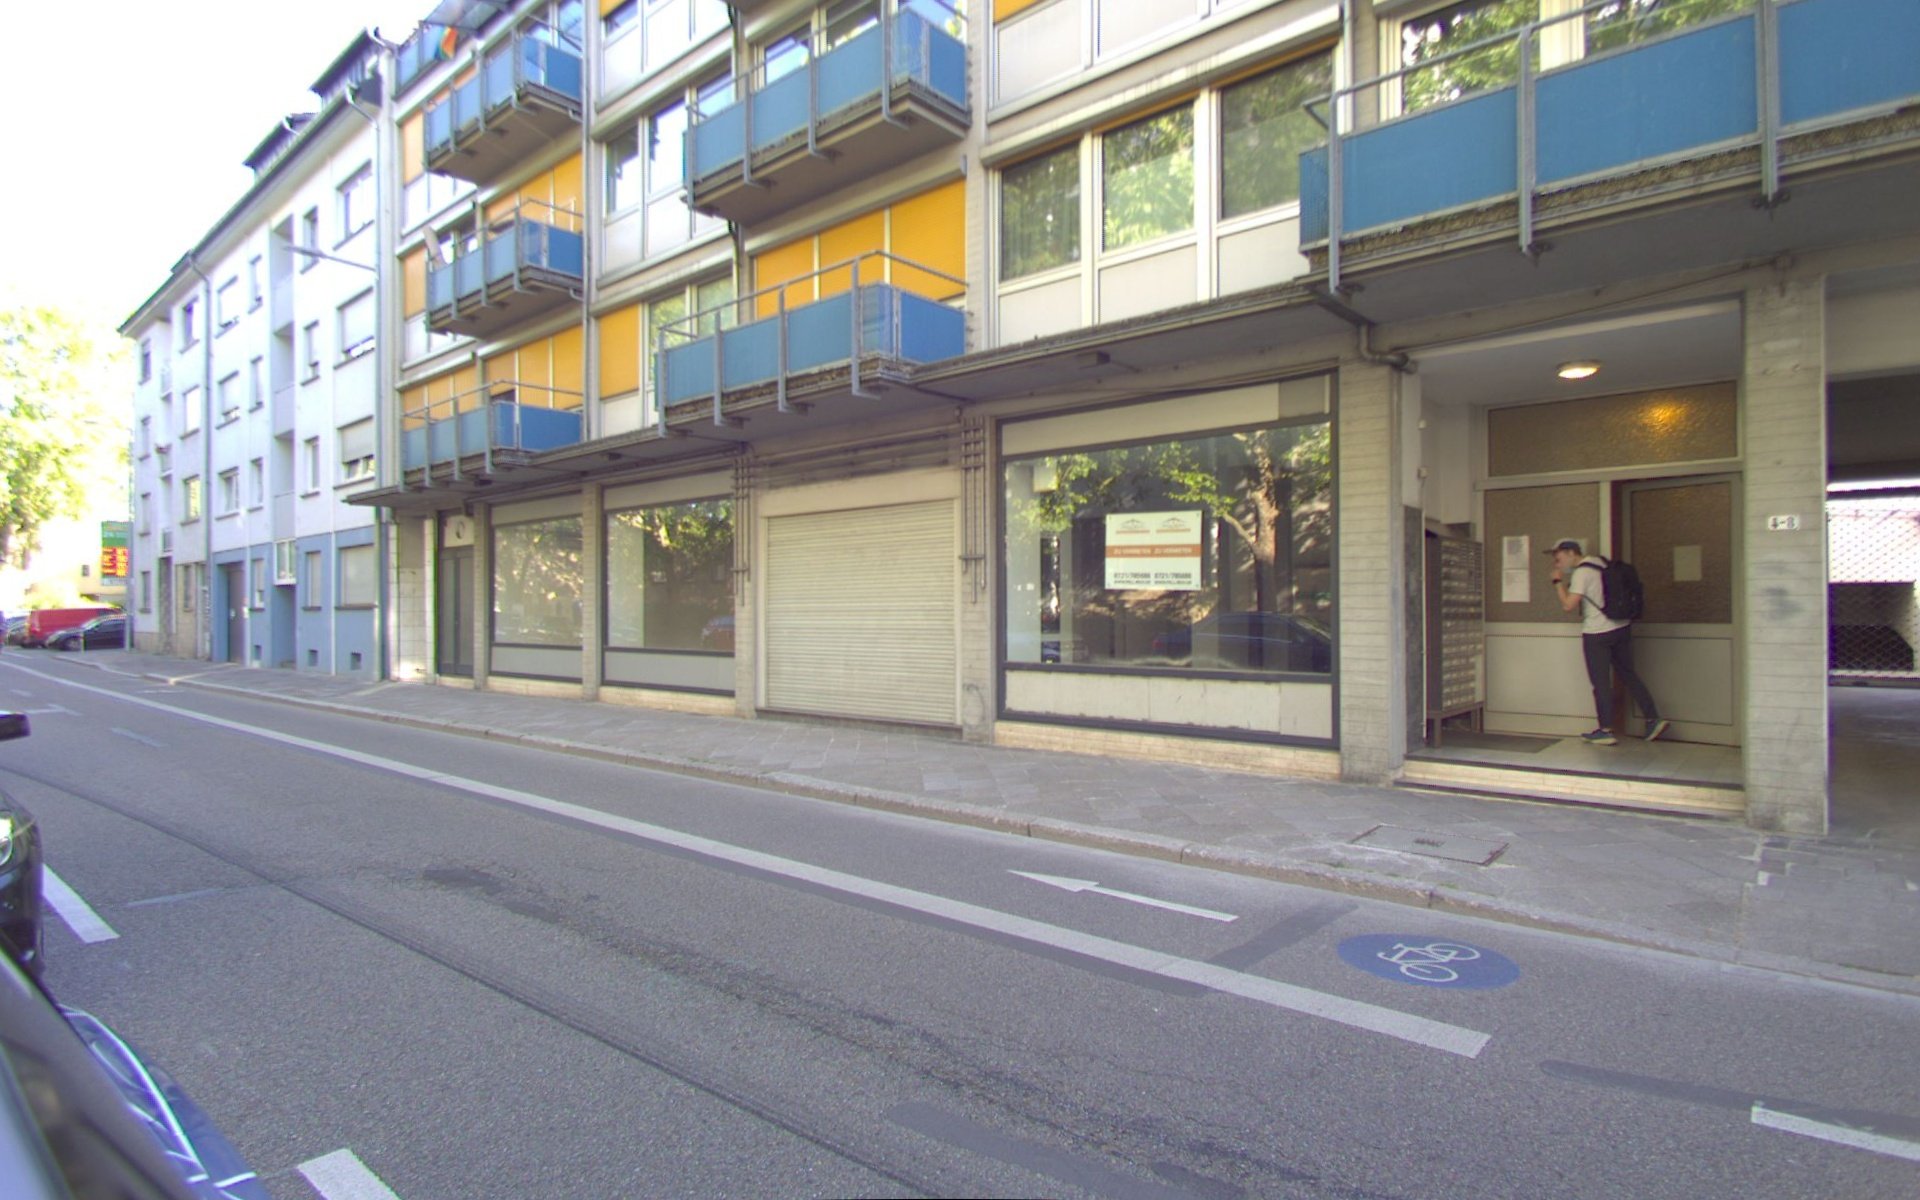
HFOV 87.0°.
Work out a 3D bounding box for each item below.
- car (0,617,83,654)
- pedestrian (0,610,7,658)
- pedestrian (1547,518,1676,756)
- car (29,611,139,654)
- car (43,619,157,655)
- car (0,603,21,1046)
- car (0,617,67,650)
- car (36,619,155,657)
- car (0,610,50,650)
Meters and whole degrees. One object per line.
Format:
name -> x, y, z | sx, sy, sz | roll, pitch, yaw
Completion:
car -> -53.539, 2.038, 58.611 | 2.000, 1.962, 3.944 | -1, 0, 42
pedestrian -> -40.871, 1.448, 42.794 | 1.045, 2.029, 0.725 | -1, 0, 40
pedestrian -> 5.500, 0.297, 8.549 | 0.573, 1.894, 0.787 | -1, 0, -44
car -> -43.447, 1.575, 50.251 | 2.000, 1.962, 3.944 | -1, 0, 42
car -> -41.192, 1.745, 48.527 | 2.000, 1.564, 3.944 | -1, 0, 42
car -> -5.534, 0.809, 4.284 | 4.479, 1.512, 1.842 | -1, -1, 41
car -> -59.226, 2.111, 64.013 | 2.000, 1.962, 3.944 | -1, 0, 42
car -> -39.773, 1.727, 46.606 | 2.000, 1.564, 3.944 | -1, 0, 42
car -> -62.818, 1.958, 66.782 | 2.000, 2.538, 3.944 | -1, 0, 42
